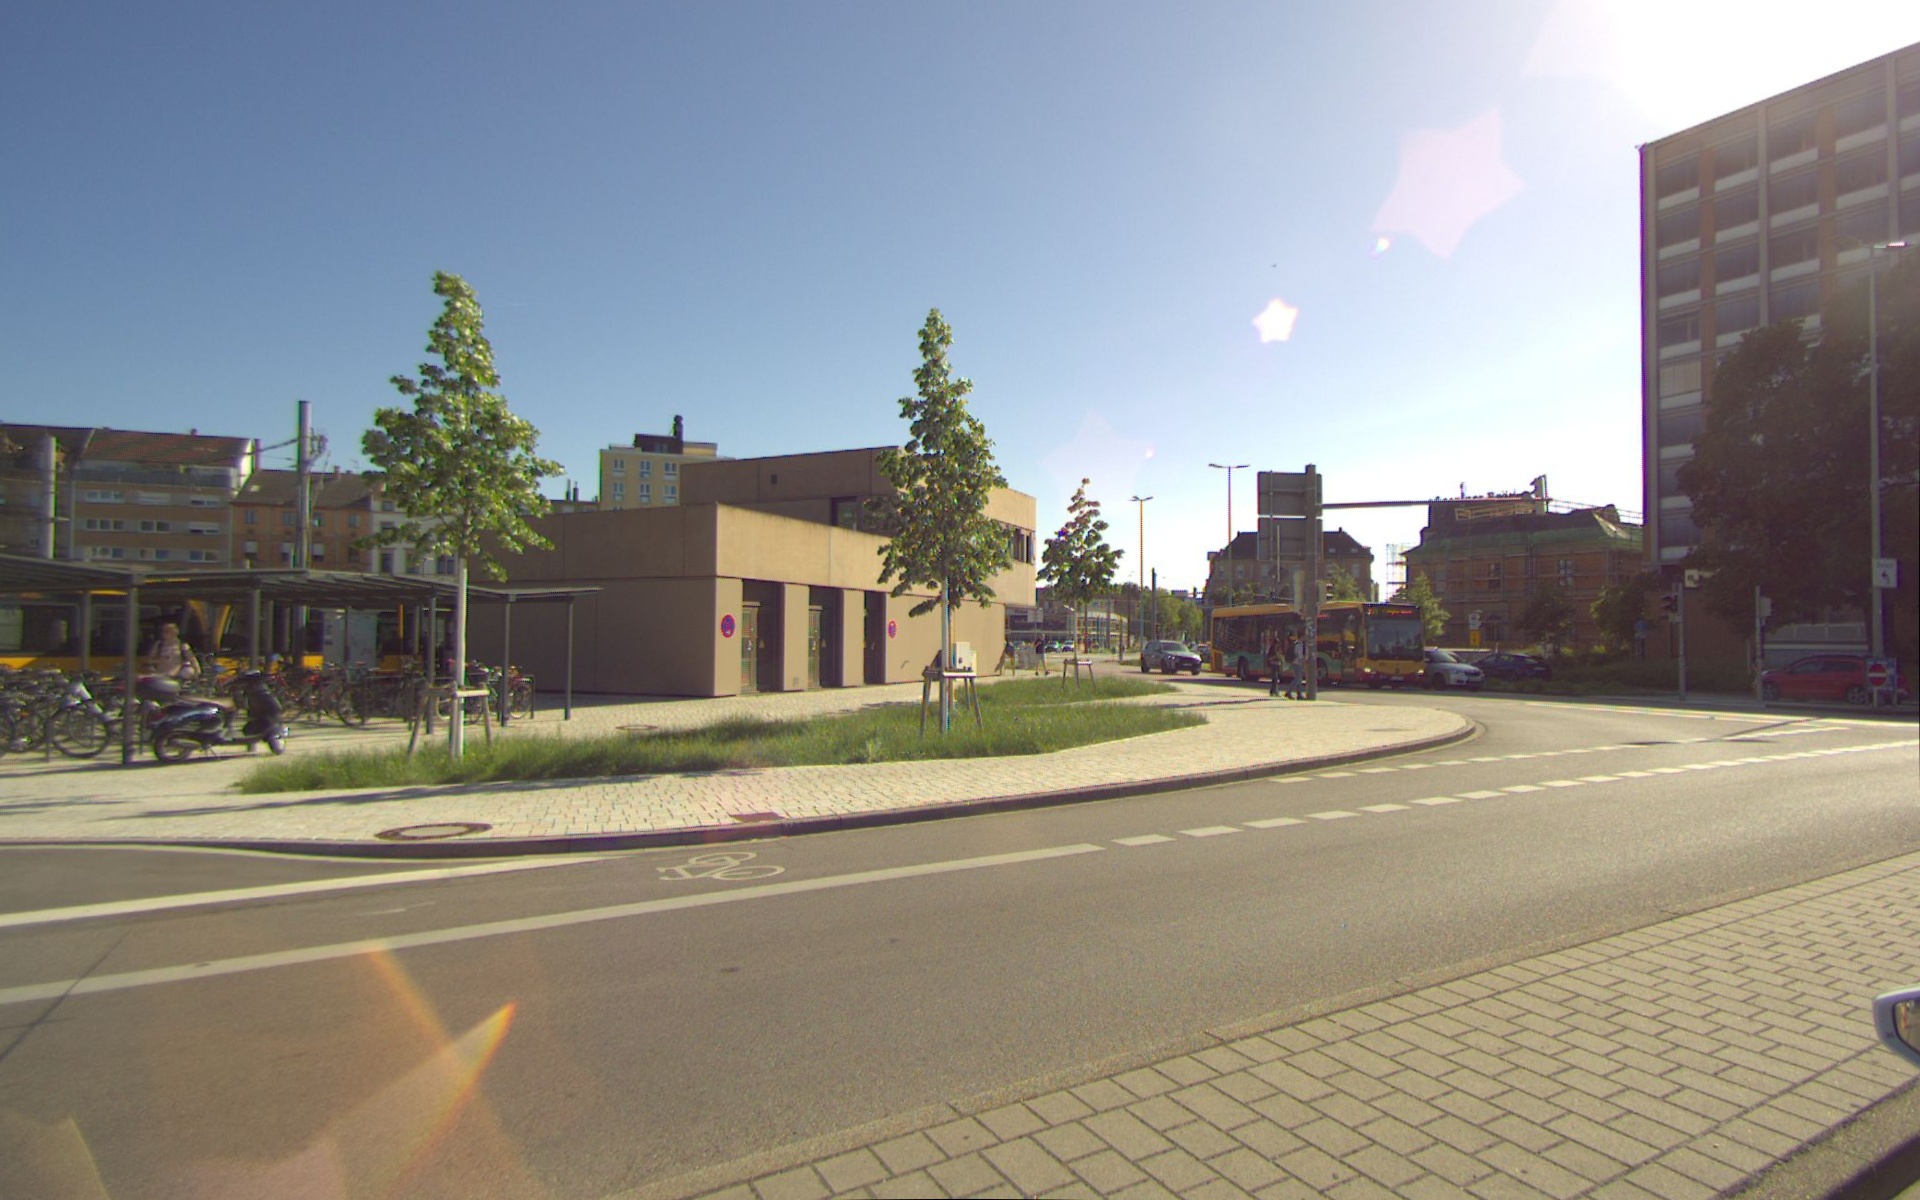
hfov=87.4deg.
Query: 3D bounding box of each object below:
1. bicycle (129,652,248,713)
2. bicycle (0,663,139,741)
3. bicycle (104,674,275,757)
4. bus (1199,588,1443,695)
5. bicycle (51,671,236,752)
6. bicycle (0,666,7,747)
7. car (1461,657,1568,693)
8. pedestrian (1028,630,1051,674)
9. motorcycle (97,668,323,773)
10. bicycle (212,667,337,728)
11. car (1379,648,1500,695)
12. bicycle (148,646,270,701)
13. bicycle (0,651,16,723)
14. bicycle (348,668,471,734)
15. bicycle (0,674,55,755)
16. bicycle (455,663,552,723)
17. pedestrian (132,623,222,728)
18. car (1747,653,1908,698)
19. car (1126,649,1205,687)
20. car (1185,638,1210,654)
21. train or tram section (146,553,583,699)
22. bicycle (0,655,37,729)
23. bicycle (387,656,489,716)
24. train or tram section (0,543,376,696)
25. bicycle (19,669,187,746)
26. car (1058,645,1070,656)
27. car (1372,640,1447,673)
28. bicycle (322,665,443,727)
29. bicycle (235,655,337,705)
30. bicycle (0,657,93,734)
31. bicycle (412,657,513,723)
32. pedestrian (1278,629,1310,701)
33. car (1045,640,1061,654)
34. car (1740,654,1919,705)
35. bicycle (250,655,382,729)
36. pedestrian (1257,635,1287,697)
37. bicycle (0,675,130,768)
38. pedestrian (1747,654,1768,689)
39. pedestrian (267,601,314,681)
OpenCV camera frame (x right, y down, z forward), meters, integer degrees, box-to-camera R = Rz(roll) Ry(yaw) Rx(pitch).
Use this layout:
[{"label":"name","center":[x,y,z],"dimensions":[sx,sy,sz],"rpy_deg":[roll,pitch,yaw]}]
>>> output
[{"label":"bicycle","center":[-15.727,1.651,20.529],"dimensions":[0.617,1.146,1.828],"rpy_deg":[0,-2,27]},{"label":"bicycle","center":[-14.086,1.558,15.713],"dimensions":[0.617,1.094,1.829],"rpy_deg":[0,-2,25]},{"label":"bicycle","center":[-10.852,1.597,14.223],"dimensions":[0.617,1.021,1.829],"rpy_deg":[0,-2,25]},{"label":"bus","center":[13.743,1.612,40.218],"dimensions":[3.193,3.617,12.437],"rpy_deg":[1,-2,-12]},{"label":"bicycle","center":[-11.935,1.597,14.774],"dimensions":[0.617,1.021,2.026],"rpy_deg":[0,-2,25]},{"label":"bicycle","center":[-14.003,1.457,13.316],"dimensions":[0.616,1.107,1.879],"rpy_deg":[0,-2,27]},{"label":"car","center":[24.957,3.338,45.342],"dimensions":[2.068,1.467,3.899],"rpy_deg":[1,-2,-18]},{"label":"pedestrian","center":[3.451,2.258,43.675],"dimensions":[0.826,1.869,0.866],"rpy_deg":[1,-2,-7]},{"label":"motorcycle","center":[-9.733,1.516,13.178],"dimensions":[0.599,1.173,2.360],"rpy_deg":[0,-2,25]},{"label":"bicycle","center":[-12.680,1.779,18.639],"dimensions":[0.617,1.021,1.828],"rpy_deg":[0,-2,27]},{"label":"car","center":[17.479,2.590,36.818],"dimensions":[1.862,1.421,3.842],"rpy_deg":[4,-2,-17]},{"label":"bicycle","center":[-14.809,1.432,19.867],"dimensions":[0.617,1.021,1.828],"rpy_deg":[0,-2,27]},{"label":"bicycle","center":[-17.370,1.511,17.064],"dimensions":[0.617,1.249,1.829],"rpy_deg":[0,-2,25]},{"label":"bicycle","center":[-9.487,1.712,17.386],"dimensions":[0.617,1.021,1.828],"rpy_deg":[0,-2,27]},{"label":"bicycle","center":[-12.832,1.492,12.871],"dimensions":[0.539,1.021,1.749],"rpy_deg":[0,-2,28]},{"label":"bicycle","center":[-8.638,1.740,19.087],"dimensions":[0.616,1.021,1.832],"rpy_deg":[0,-2,16]},{"label":"pedestrian","center":[-13.397,1.261,17.202],"dimensions":[1.005,1.727,0.838],"rpy_deg":[0,-2,26]},{"label":"car","center":[31.592,2.725,36.741],"dimensions":[2.031,1.458,4.047],"rpy_deg":[1,-2,-14]},{"label":"car","center":[10.937,3.597,53.898],"dimensions":[1.975,1.885,4.720],"rpy_deg":[1,-2,-21]},{"label":"car","center":[27.036,5.256,114.452],"dimensions":[1.960,1.603,4.001],"rpy_deg":[2,0,2]},{"label":"train or tram section","center":[-17.537,0.867,31.415],"dimensions":[2.702,3.648,12.318],"rpy_deg":[0,-2,25]},{"label":"bicycle","center":[-16.363,1.515,16.372],"dimensions":[0.636,1.204,1.829],"rpy_deg":[0,-2,25]},{"label":"bicycle","center":[-10.562,1.720,20.391],"dimensions":[0.617,1.107,1.829],"rpy_deg":[0,-2,25]},{"label":"train or tram section","center":[-22.768,0.593,27.529],"dimensions":[2.779,3.648,12.320],"rpy_deg":[0,-2,24]},{"label":"bicycle","center":[-12.919,1.591,15.214],"dimensions":[0.617,1.021,1.829],"rpy_deg":[0,-2,25]},{"label":"car","center":[16.082,7.827,155.478],"dimensions":[1.865,1.728,4.003],"rpy_deg":[0,-2,5]},{"label":"car","center":[27.704,3.471,62.040],"dimensions":[2.176,1.905,4.176],"rpy_deg":[1,-2,-12]},{"label":"bicycle","center":[-10.430,1.714,18.203],"dimensions":[0.492,1.010,1.887],"rpy_deg":[-1,-2,31]},{"label":"bicycle","center":[-15.074,1.772,22.504],"dimensions":[0.617,1.021,1.829],"rpy_deg":[0,-2,25]},{"label":"bicycle","center":[-15.242,1.527,16.167],"dimensions":[0.617,1.176,1.829],"rpy_deg":[0,-2,25]},{"label":"bicycle","center":[-9.558,1.707,19.386],"dimensions":[0.616,1.161,1.831],"rpy_deg":[0,-2,18]},{"label":"pedestrian","center":[8.848,1.716,26.634],"dimensions":[0.594,1.880,0.681],"rpy_deg":[1,-2,-7]},{"label":"car","center":[13.160,6.659,142.569],"dimensions":[1.959,1.814,4.003],"rpy_deg":[0,-2,10]},{"label":"car","center":[28.270,2.535,32.759],"dimensions":[2.034,1.458,4.040],"rpy_deg":[1,-2,-20]},{"label":"bicycle","center":[-11.704,1.635,18.331],"dimensions":[0.496,1.225,2.051],"rpy_deg":[0,-2,26]},{"label":"pedestrian","center":[8.773,1.839,28.284],"dimensions":[0.594,1.719,0.634],"rpy_deg":[1,-2,-7]},{"label":"bicycle","center":[-11.727,1.514,12.609],"dimensions":[0.677,1.055,1.891],"rpy_deg":[0,-2,27]},{"label":"pedestrian","center":[37.114,3.324,46.740],"dimensions":[0.545,1.591,0.534],"rpy_deg":[1,-2,-5]},{"label":"pedestrian","center":[-16.035,0.980,24.082],"dimensions":[0.738,1.880,0.709],"rpy_deg":[1,-2,-19]}]
